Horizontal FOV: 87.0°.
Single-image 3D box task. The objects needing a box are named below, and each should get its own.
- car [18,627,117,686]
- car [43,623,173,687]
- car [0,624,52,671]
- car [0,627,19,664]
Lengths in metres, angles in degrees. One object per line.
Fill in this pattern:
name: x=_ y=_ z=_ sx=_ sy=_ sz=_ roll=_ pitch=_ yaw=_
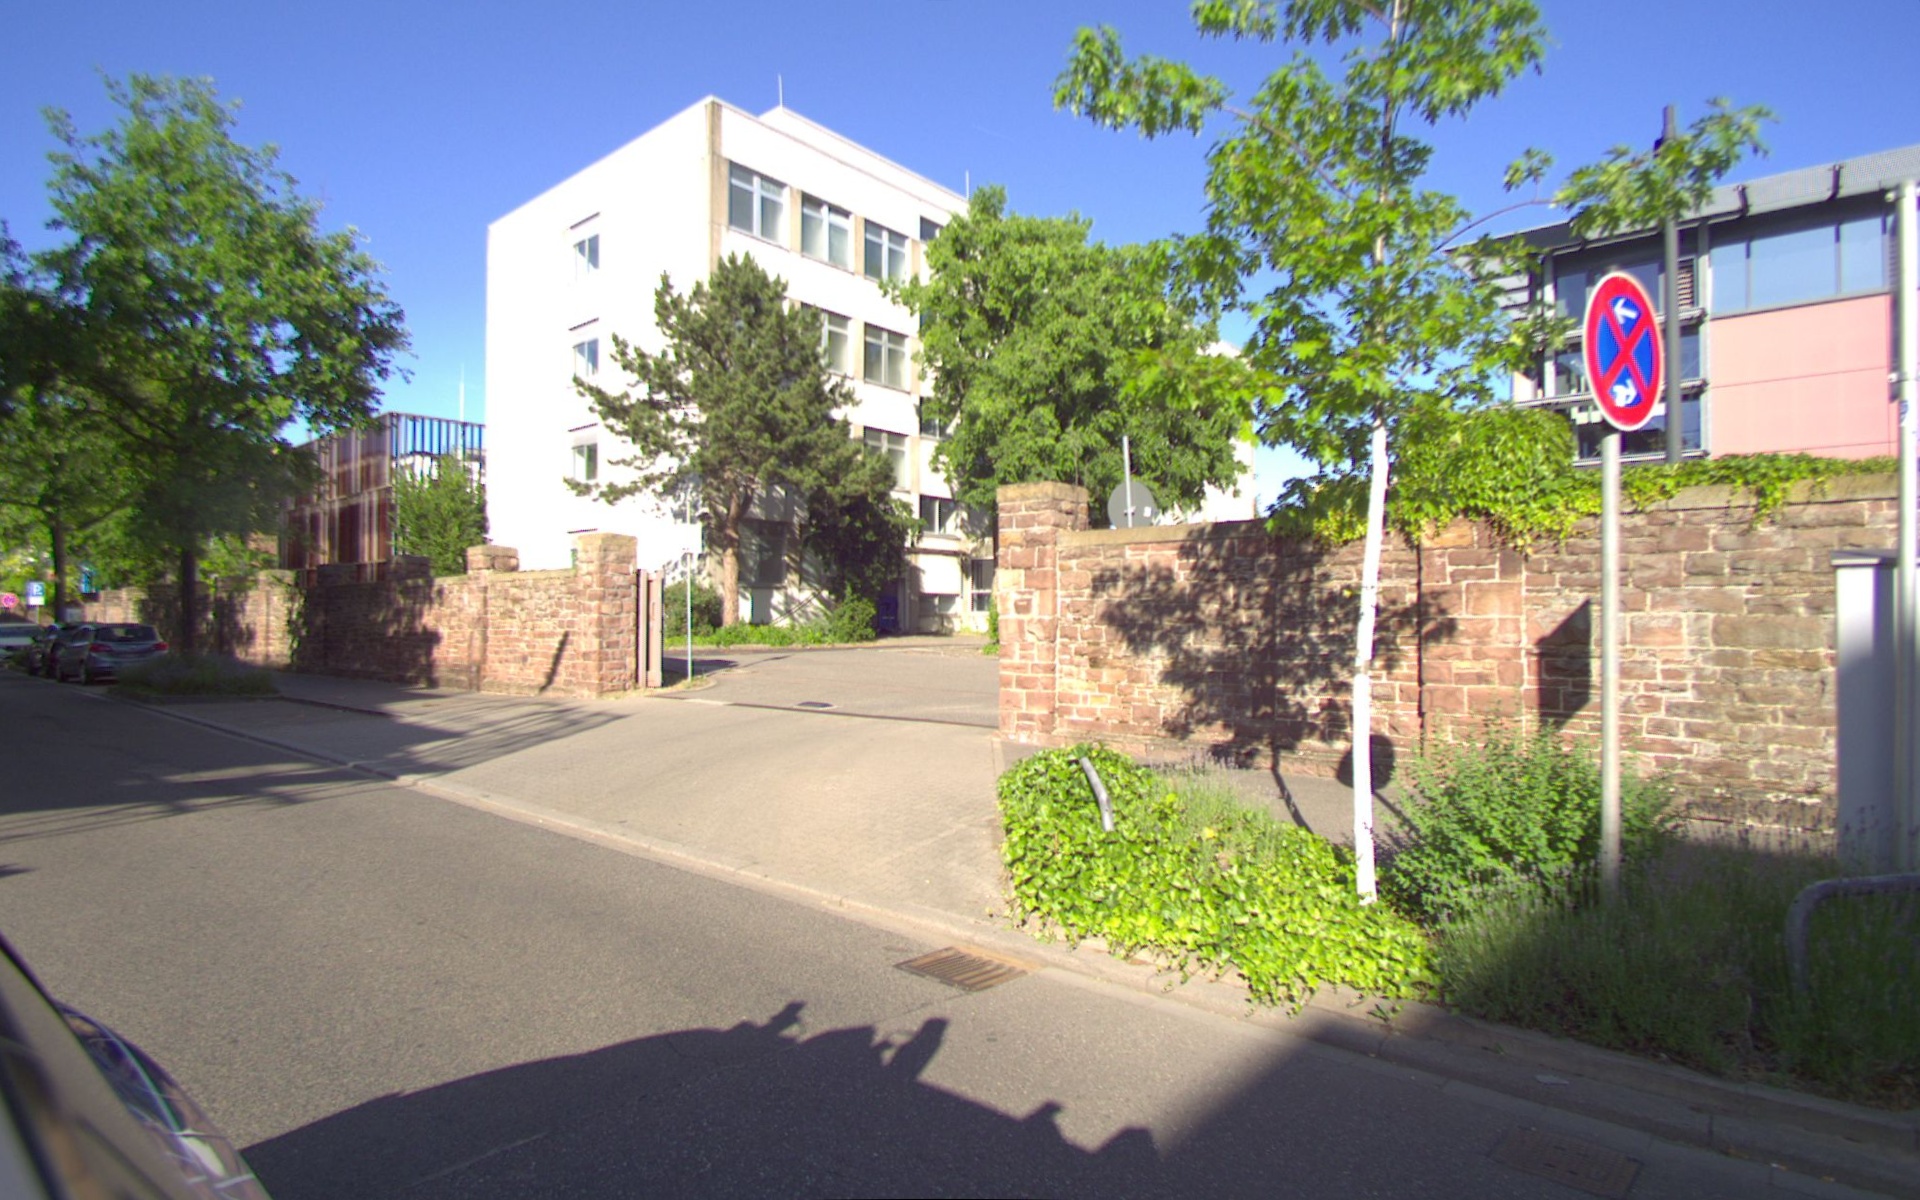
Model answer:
car: x=-25.295 y=1.543 z=28.647 sx=4.042 sy=1.526 sz=1.557 roll=-1 pitch=-1 yaw=41
car: x=-21.318 y=1.322 z=25.276 sx=3.832 sy=1.432 sz=1.671 roll=-1 pitch=0 yaw=37
car: x=-33.786 y=1.670 z=36.066 sx=3.848 sy=1.522 sz=1.659 roll=-2 pitch=1 yaw=42
car: x=-38.689 y=1.823 z=40.122 sx=3.748 sy=1.412 sz=1.558 roll=-2 pitch=1 yaw=40
